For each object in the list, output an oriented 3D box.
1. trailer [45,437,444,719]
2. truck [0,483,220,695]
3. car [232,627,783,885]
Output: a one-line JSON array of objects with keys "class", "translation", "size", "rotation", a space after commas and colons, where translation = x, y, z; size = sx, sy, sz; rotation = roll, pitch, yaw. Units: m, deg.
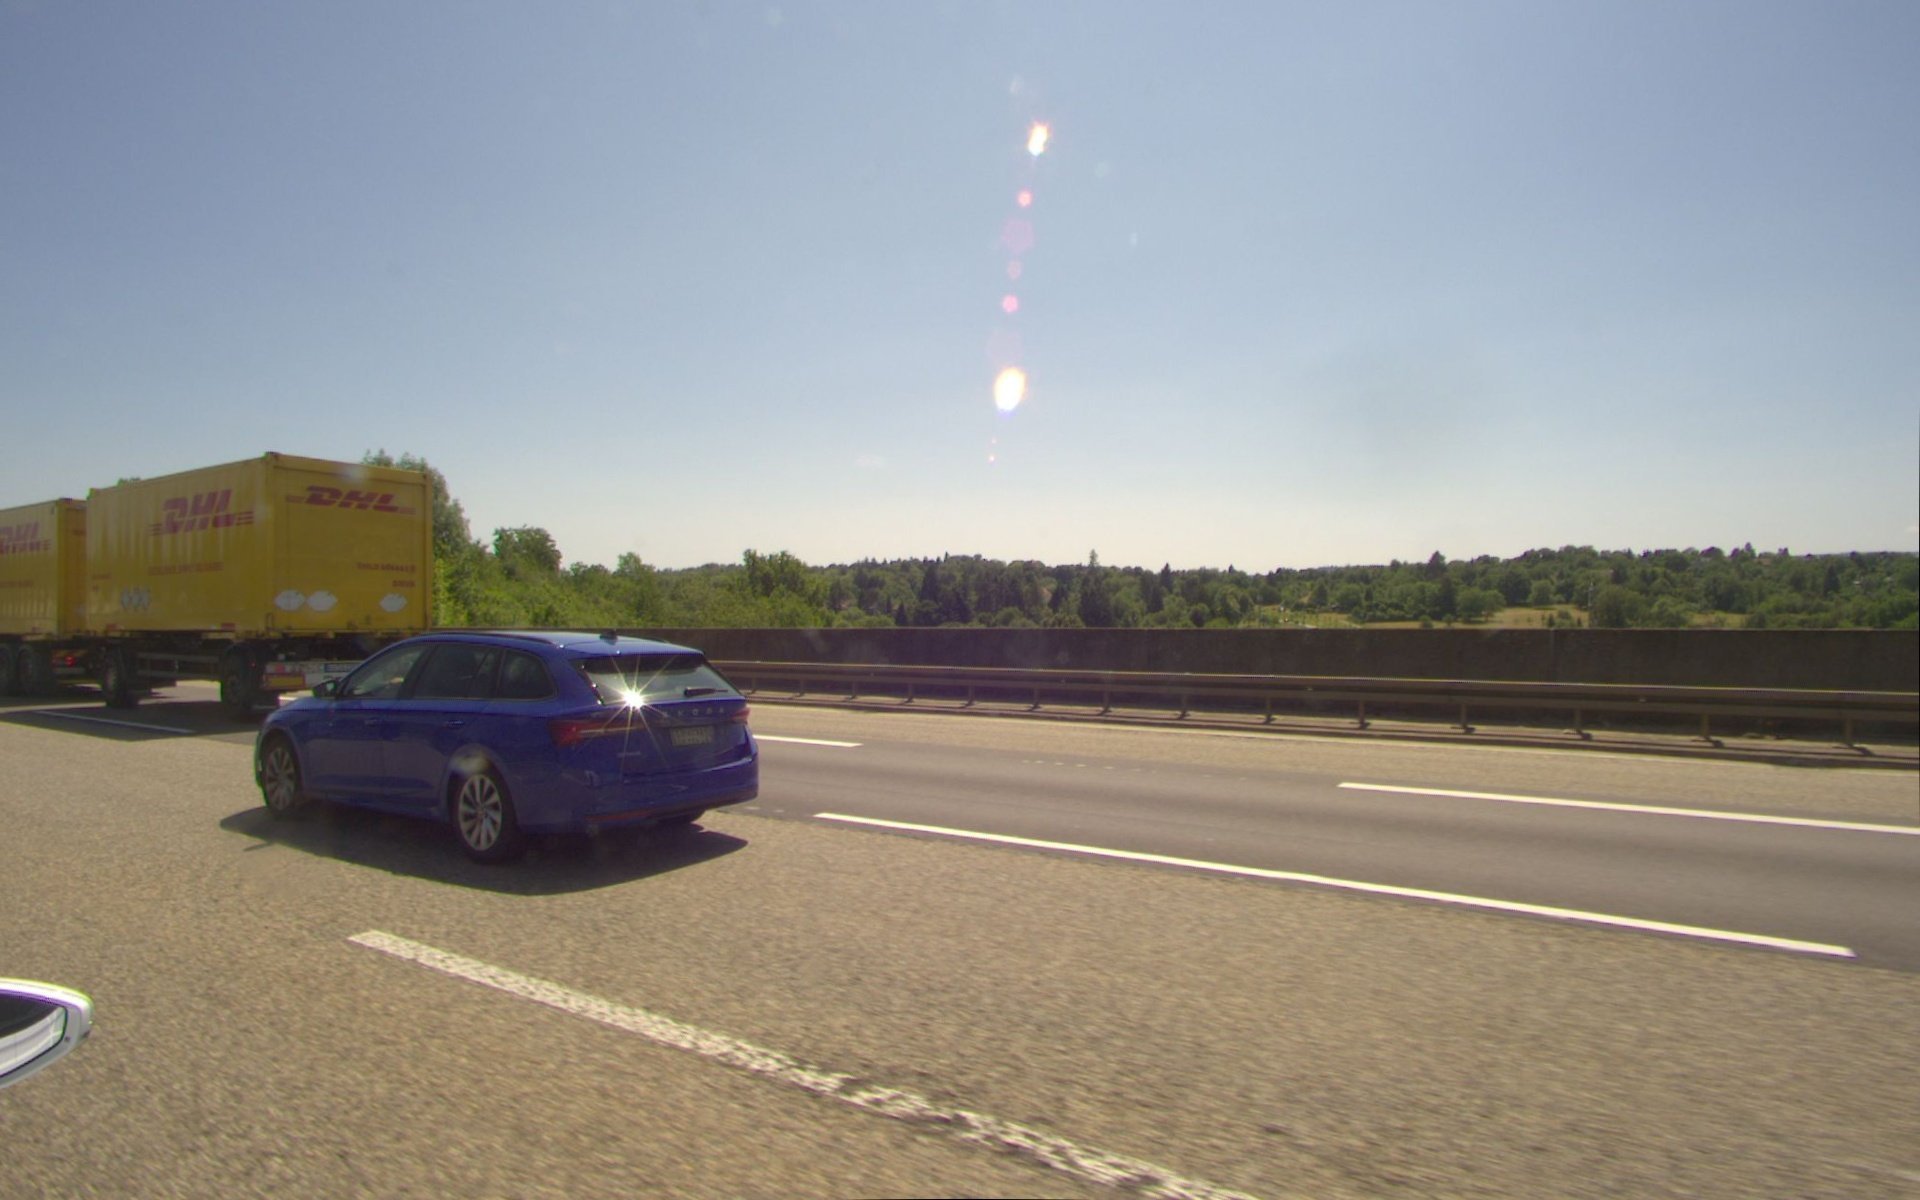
[{"class": "trailer", "translation": [-13.480, -0.228, 18.504], "size": [9.244, 4.170, 2.760], "rotation": [-1, -2, 33]}, {"class": "truck", "translation": [-21.119, -0.108, 23.430], "size": [9.810, 4.162, 2.761], "rotation": [-1, -2, 32]}, {"class": "car", "translation": [-3.553, 0.944, 7.601], "size": [4.364, 1.459, 1.703], "rotation": [-1, -2, 32]}]
